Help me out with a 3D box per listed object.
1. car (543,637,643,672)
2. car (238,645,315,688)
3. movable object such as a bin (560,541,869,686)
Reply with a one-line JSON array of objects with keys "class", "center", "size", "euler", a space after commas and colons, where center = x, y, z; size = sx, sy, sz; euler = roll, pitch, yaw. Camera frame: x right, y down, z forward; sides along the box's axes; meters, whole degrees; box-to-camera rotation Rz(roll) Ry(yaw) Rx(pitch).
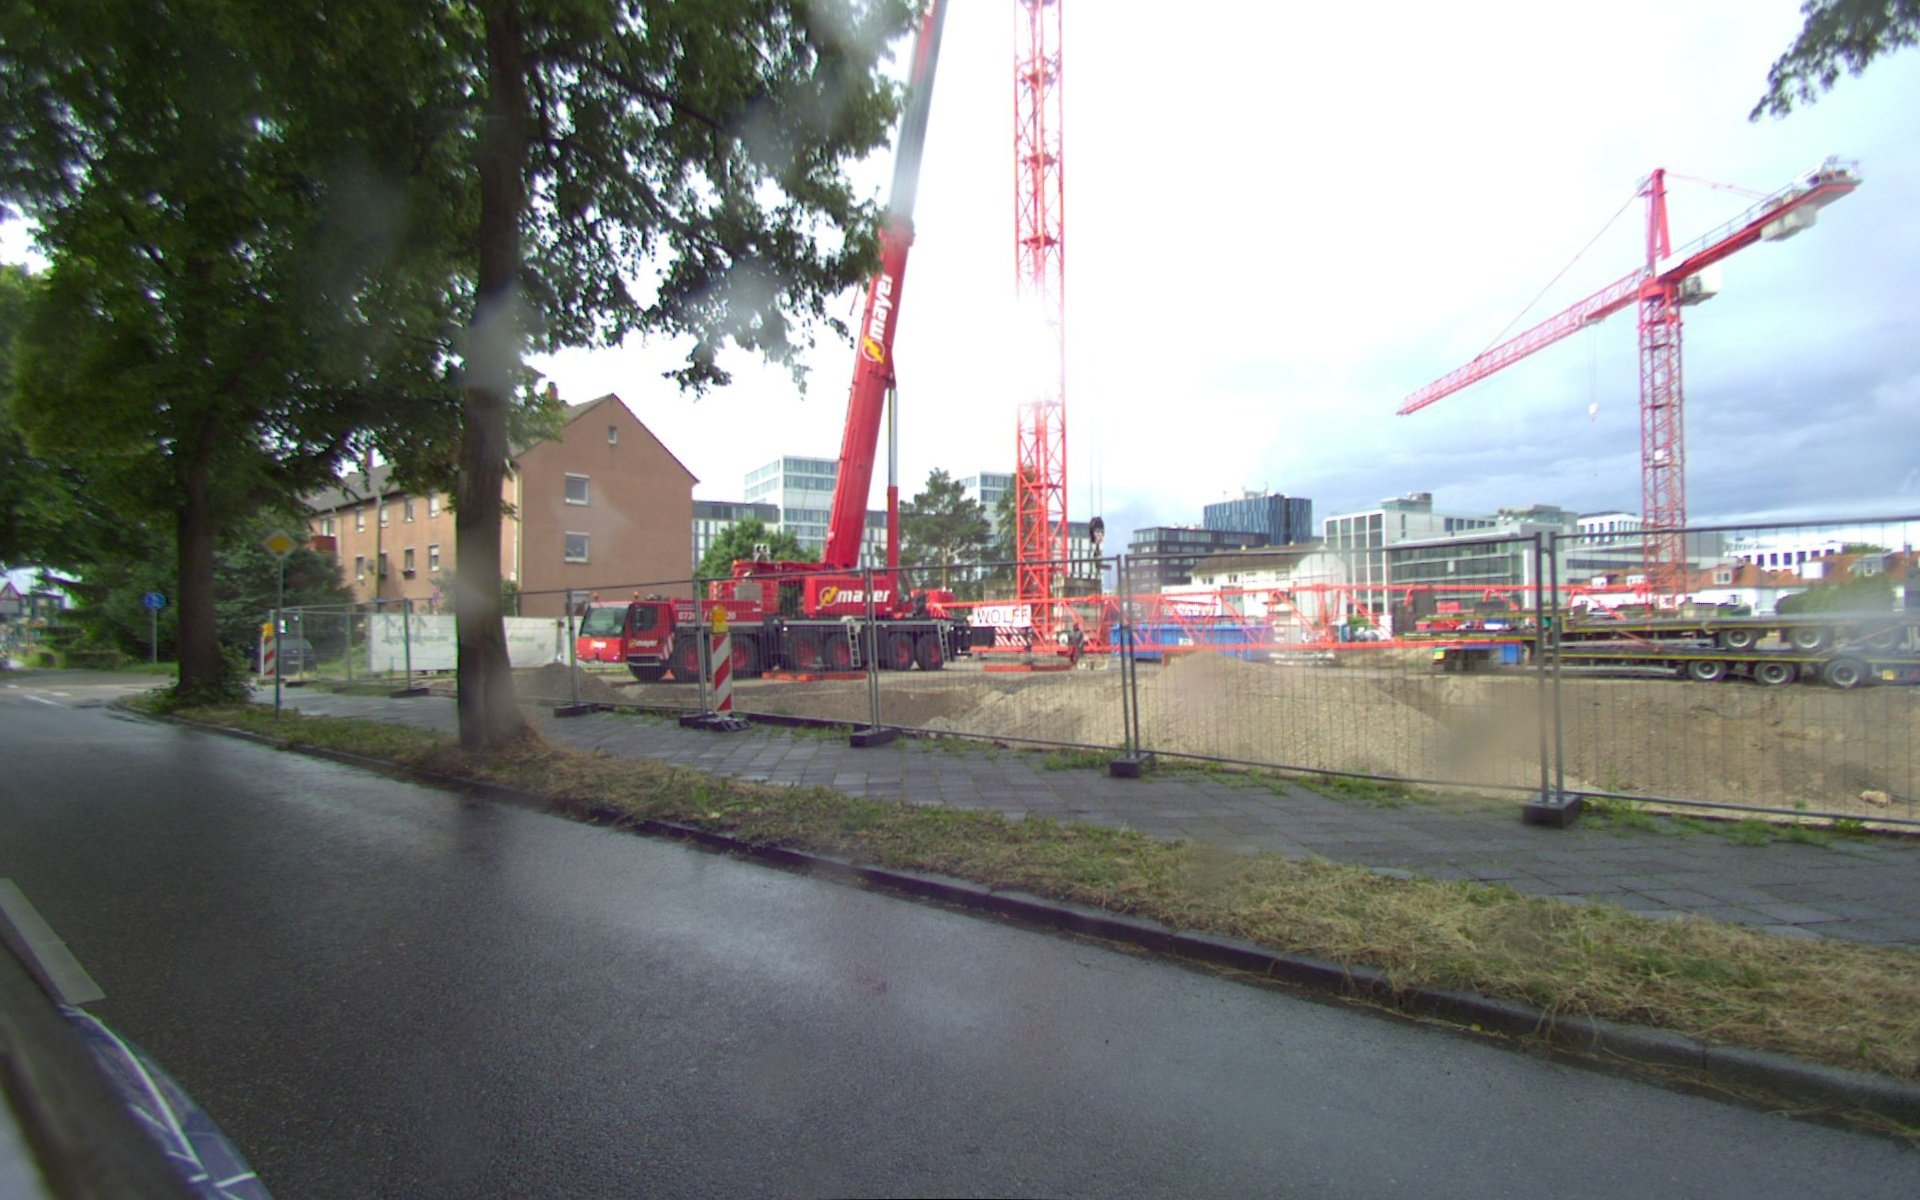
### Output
[{"class": "car", "center": [-16.088, 2.367, 44.551], "size": [1.721, 1.424, 4.026], "euler": [-2, -2, 29]}, {"class": "car", "center": [-26.754, 2.564, 39.566], "size": [3.869, 1.431, 1.607], "euler": [0, 0, 42]}, {"class": "movable object such as a bin", "center": [-7.792, 0.497, 33.545], "size": [3.366, 4.147, 9.704], "euler": [-3, -3, 43]}]
